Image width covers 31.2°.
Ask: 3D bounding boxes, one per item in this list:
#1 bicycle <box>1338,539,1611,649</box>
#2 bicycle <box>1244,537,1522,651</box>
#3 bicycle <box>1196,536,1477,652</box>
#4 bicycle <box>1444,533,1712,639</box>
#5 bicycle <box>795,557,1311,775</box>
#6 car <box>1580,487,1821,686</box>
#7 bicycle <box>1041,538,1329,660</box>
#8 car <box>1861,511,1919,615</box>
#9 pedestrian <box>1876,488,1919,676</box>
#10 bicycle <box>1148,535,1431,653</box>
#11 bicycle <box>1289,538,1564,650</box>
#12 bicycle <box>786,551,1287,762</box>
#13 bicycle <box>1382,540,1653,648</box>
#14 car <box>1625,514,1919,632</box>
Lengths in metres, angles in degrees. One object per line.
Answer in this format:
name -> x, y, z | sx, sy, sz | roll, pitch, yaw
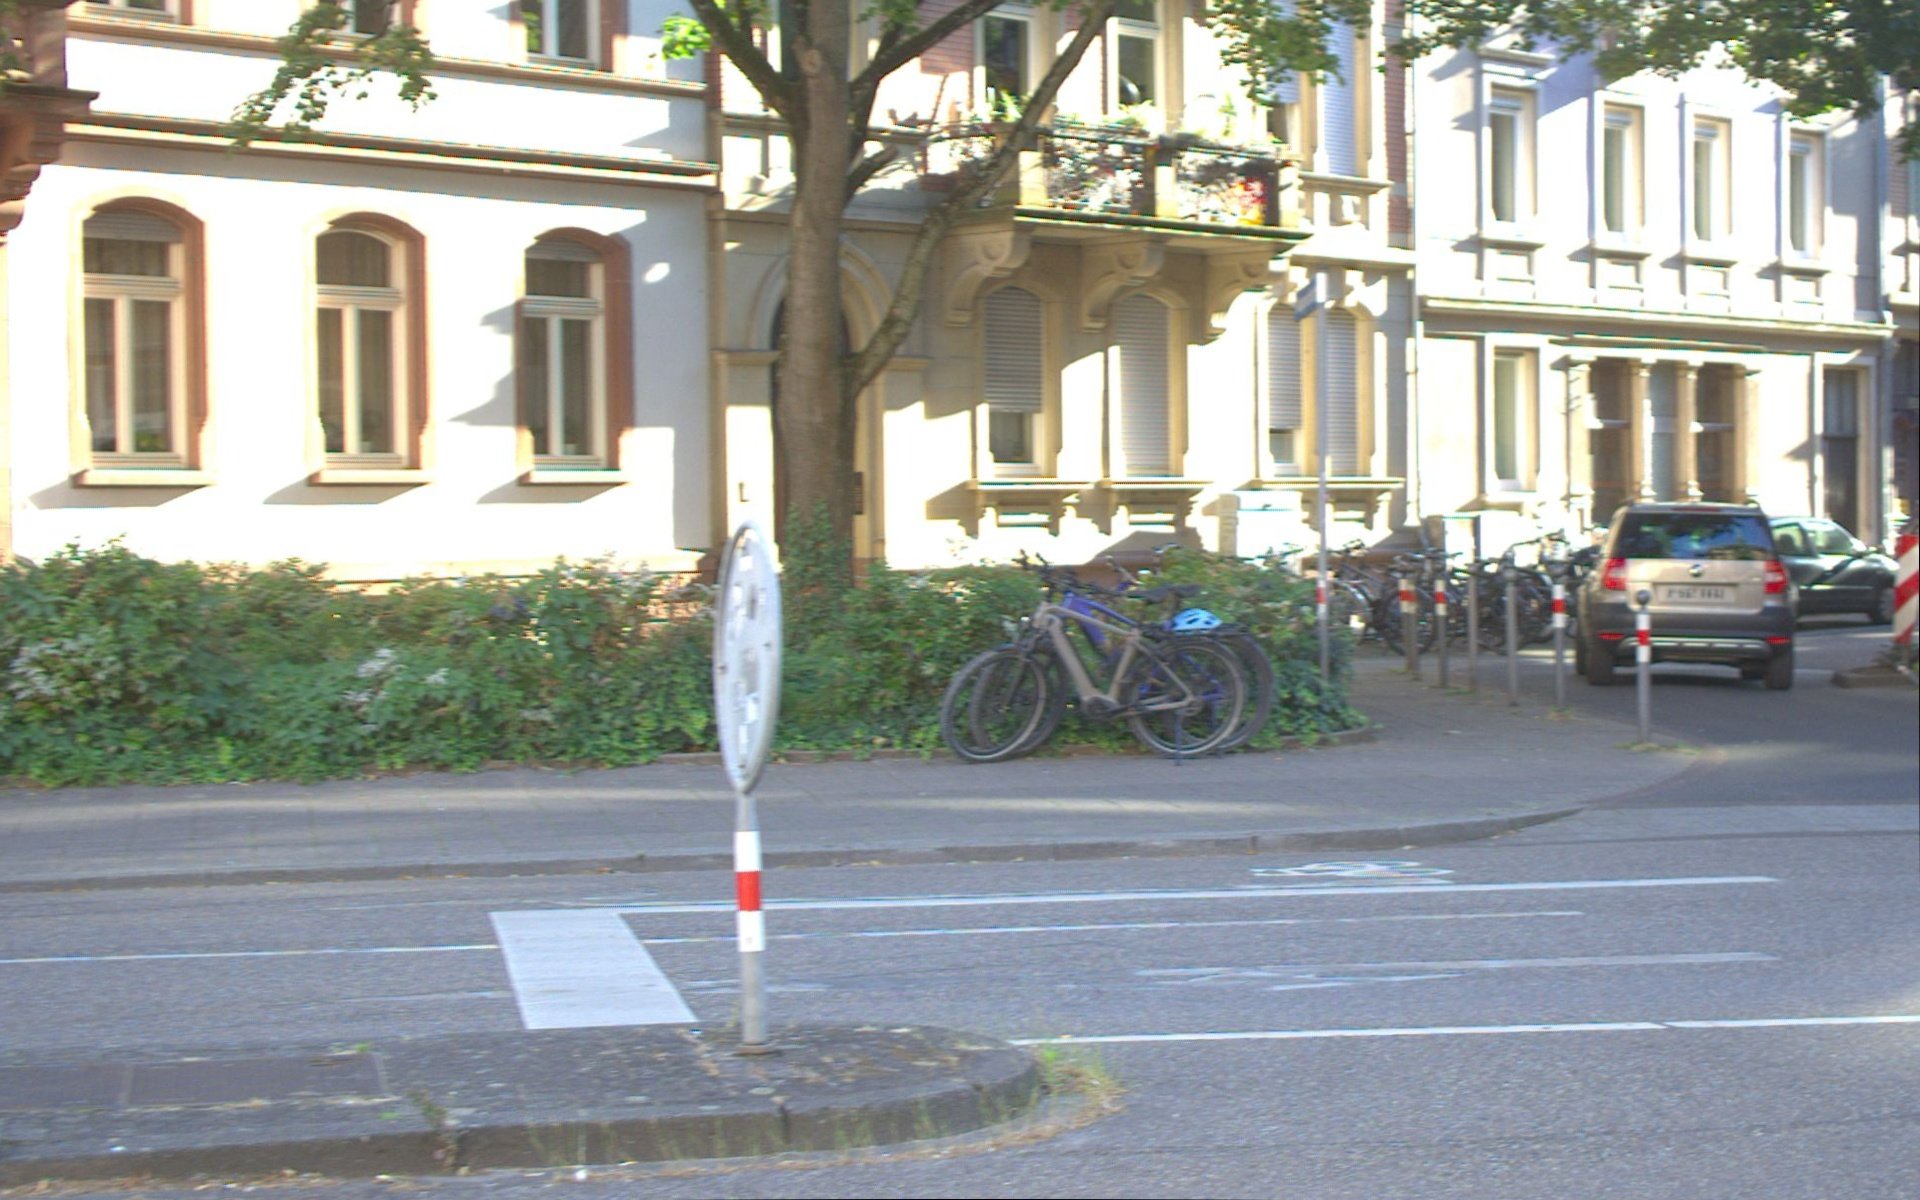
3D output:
bicycle -> 5.696, -0.079, 38.244 | 3.135, 1.176, 0.750 | 0, 2, 44
bicycle -> 4.528, -0.077, 37.075 | 3.135, 1.176, 0.750 | 0, 2, 44
bicycle -> 3.962, -0.076, 36.468 | 3.135, 1.176, 0.750 | 0, 2, 44
bicycle -> 7.095, -0.169, 39.650 | 3.135, 1.176, 0.750 | 0, 2, 44
bicycle -> 0.539, 0.372, 20.087 | 2.948, 1.192, 0.548 | -1, 1, -8
car -> 6.709, -0.161, 31.314 | 1.994, 1.678, 3.998 | 0, 1, 11
bicycle -> 2.241, -0.027, 34.685 | 3.135, 1.176, 0.750 | 0, 2, 44
car -> 13.951, -0.531, 46.305 | 1.928, 1.371, 3.742 | 1, 2, 44
pedestrian -> 8.772, -0.166, 30.905 | 0.764, 1.664, 0.668 | -2, 0, -13
bicycle -> 3.409, -0.072, 35.907 | 3.135, 1.176, 0.750 | 0, 2, 44
bicycle -> 5.077, -0.079, 37.671 | 3.135, 1.176, 0.750 | 0, 2, 44
bicycle -> 0.456, 0.327, 20.676 | 2.948, 1.192, 0.548 | -1, 1, -8
bicycle -> 6.273, -0.081, 38.860 | 3.135, 1.176, 0.750 | 0, 2, 44
car -> 10.128, -0.362, 42.725 | 1.928, 1.371, 3.742 | 1, 2, 44
